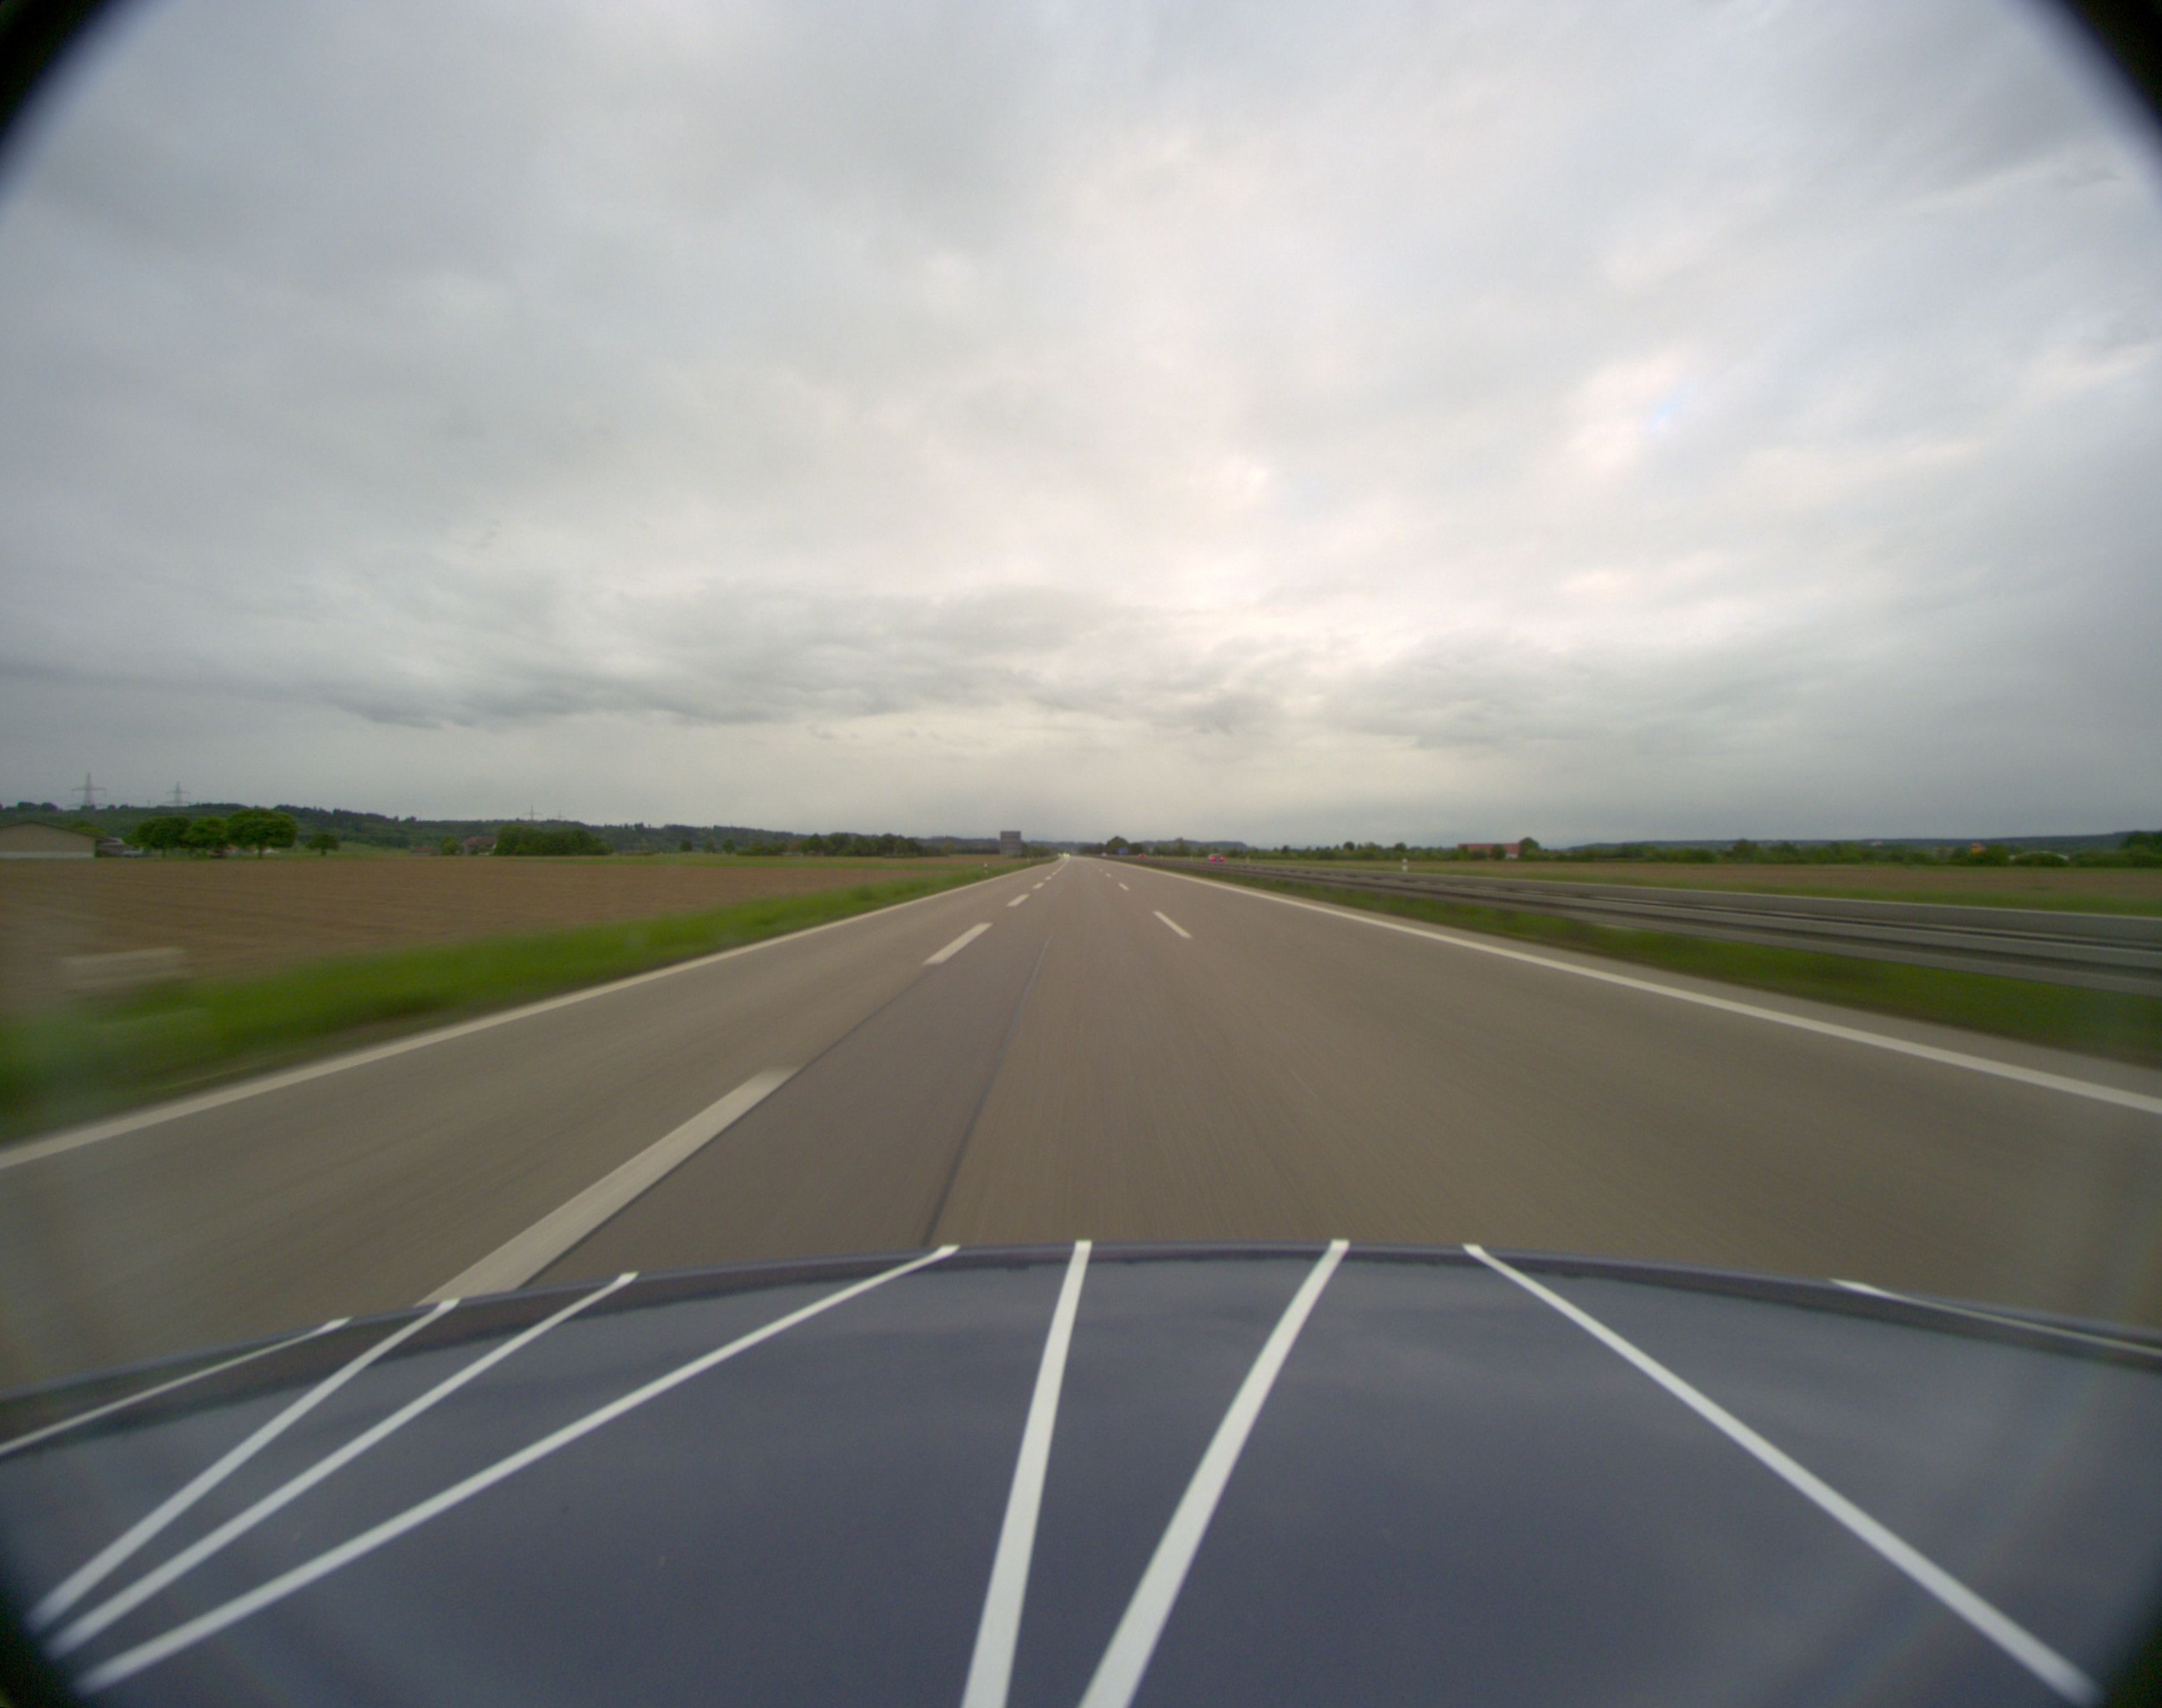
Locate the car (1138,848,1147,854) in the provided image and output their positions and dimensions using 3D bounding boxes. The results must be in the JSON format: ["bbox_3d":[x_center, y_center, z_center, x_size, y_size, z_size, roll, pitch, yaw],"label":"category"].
[{"bbox_3d":[16.077,-0.892,200.013,1.998,1.471,4.451,-2,1,0],"label":"car"}]

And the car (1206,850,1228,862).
[{"bbox_3d":[17.366,0.235,97.332,1.998,1.408,4.523,-2,1,0],"label":"car"}]
